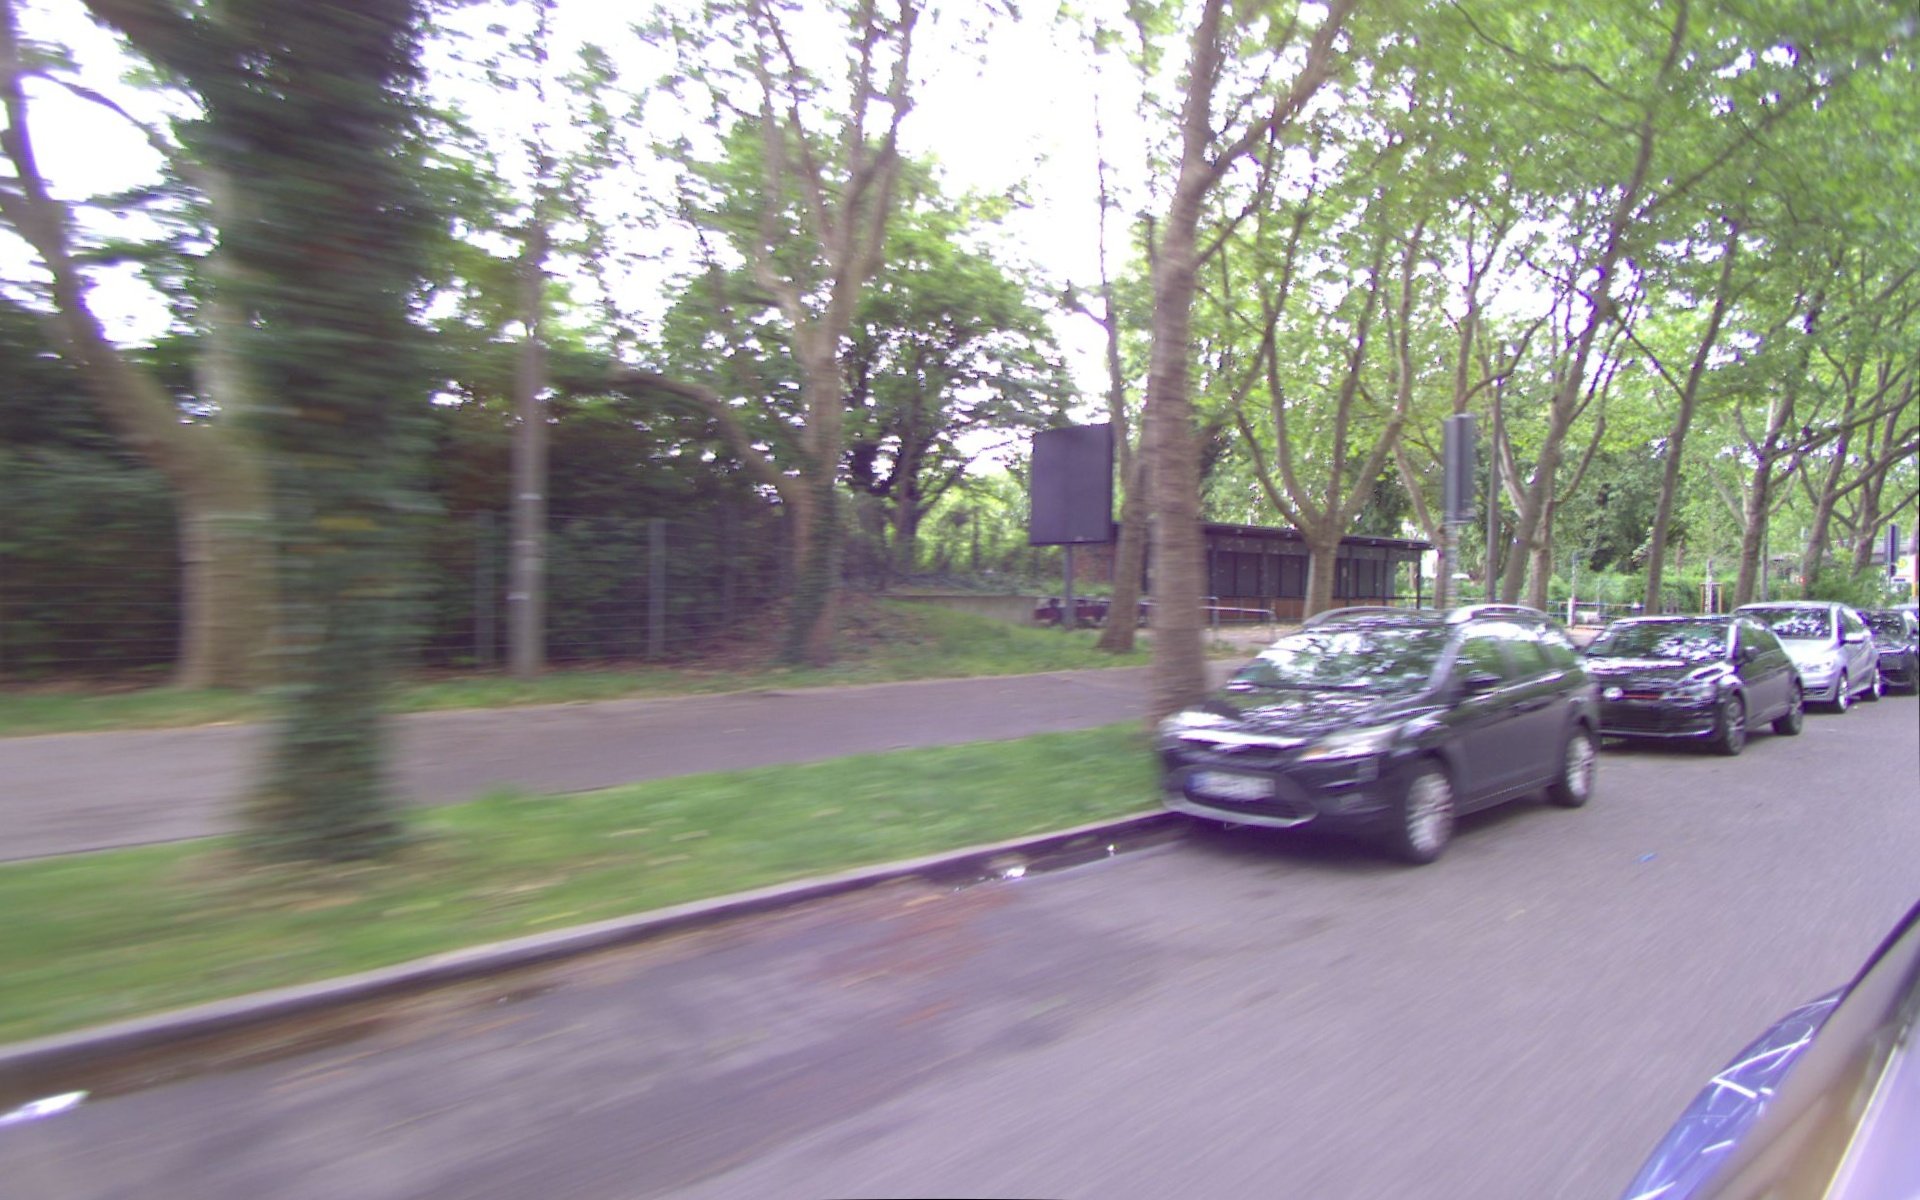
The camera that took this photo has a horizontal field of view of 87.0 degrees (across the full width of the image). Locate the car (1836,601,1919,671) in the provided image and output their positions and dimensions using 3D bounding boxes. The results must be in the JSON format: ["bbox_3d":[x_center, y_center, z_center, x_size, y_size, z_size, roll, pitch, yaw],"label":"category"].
[{"bbox_3d":[20.861,0.738,22.266,4.006,1.439,1.733,0,-1,-39],"label":"car"}]

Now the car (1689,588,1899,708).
[{"bbox_3d":[13.154,0.671,15.882,4.149,1.638,1.782,0,-1,-40],"label":"car"}]

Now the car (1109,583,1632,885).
[{"bbox_3d":[3.188,0.711,7.394,4.320,1.573,1.779,0,-1,-41],"label":"car"}]

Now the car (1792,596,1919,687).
[{"bbox_3d":[17.117,0.690,18.751,4.893,1.496,1.733,0,-1,-40],"label":"car"}]

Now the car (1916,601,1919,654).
[{"bbox_3d":[29.039,0.768,29.189,4.009,1.488,1.732,0,-1,-41],"label":"car"}]

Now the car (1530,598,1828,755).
[{"bbox_3d":[8.354,0.746,11.636,4.076,1.490,1.742,0,-1,-39],"label":"car"}]

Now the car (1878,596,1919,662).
[{"bbox_3d":[24.557,0.688,25.480,4.010,1.590,1.732,0,-1,-42],"label":"car"}]
